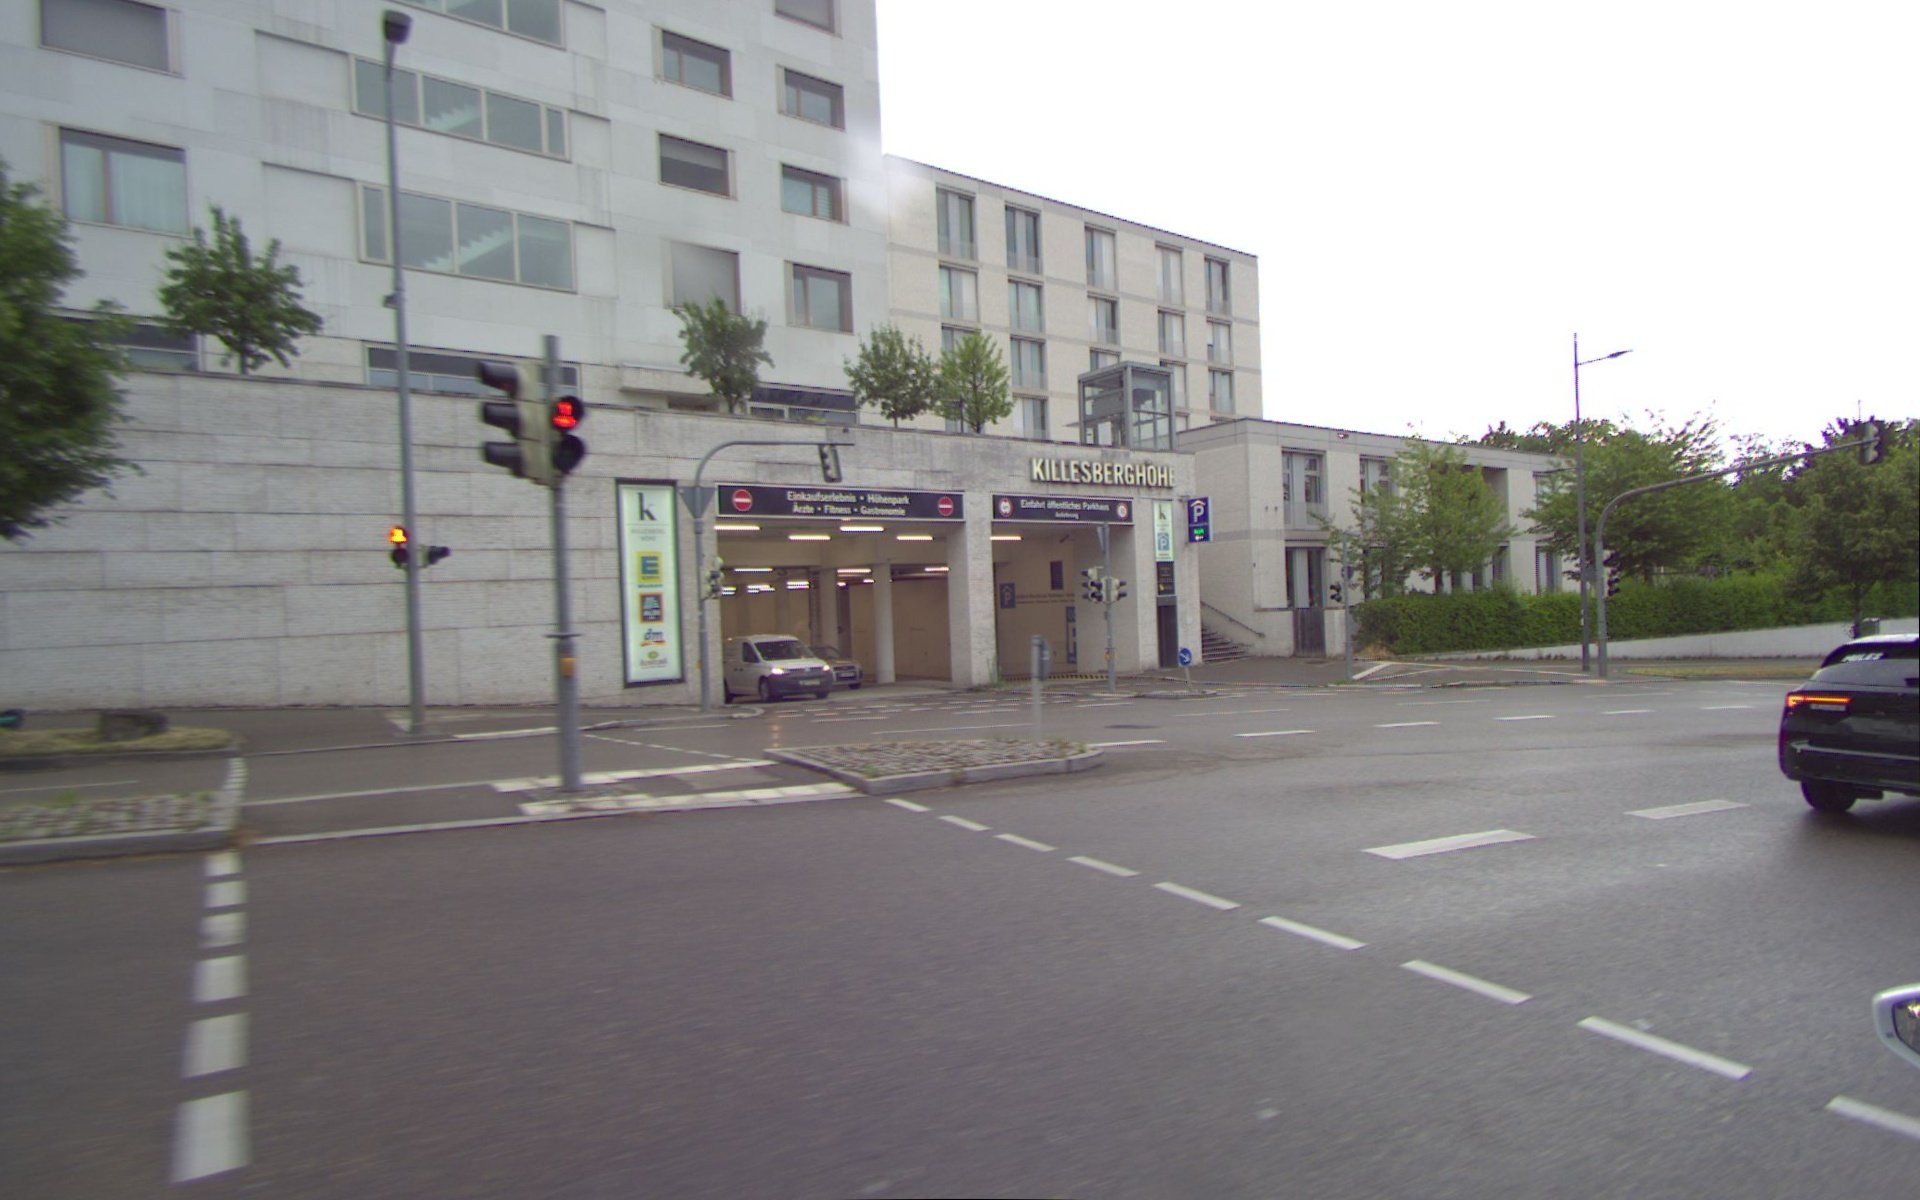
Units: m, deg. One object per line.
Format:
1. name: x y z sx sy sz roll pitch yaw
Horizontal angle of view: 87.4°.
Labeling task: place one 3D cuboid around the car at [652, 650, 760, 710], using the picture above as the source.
1. car: -8.169 2.586 32.072 1.917 1.727 3.959 1 -6 -38

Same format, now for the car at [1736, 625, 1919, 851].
1. car: 8.299 0.960 7.847 4.461 1.450 1.793 0 1 -27

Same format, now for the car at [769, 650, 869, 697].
1. car: -4.580 2.324 32.249 1.645 1.369 3.668 1 -3 -36

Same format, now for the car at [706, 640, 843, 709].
1. car: -5.135 1.951 27.336 1.910 1.694 4.470 2 -3 -37
